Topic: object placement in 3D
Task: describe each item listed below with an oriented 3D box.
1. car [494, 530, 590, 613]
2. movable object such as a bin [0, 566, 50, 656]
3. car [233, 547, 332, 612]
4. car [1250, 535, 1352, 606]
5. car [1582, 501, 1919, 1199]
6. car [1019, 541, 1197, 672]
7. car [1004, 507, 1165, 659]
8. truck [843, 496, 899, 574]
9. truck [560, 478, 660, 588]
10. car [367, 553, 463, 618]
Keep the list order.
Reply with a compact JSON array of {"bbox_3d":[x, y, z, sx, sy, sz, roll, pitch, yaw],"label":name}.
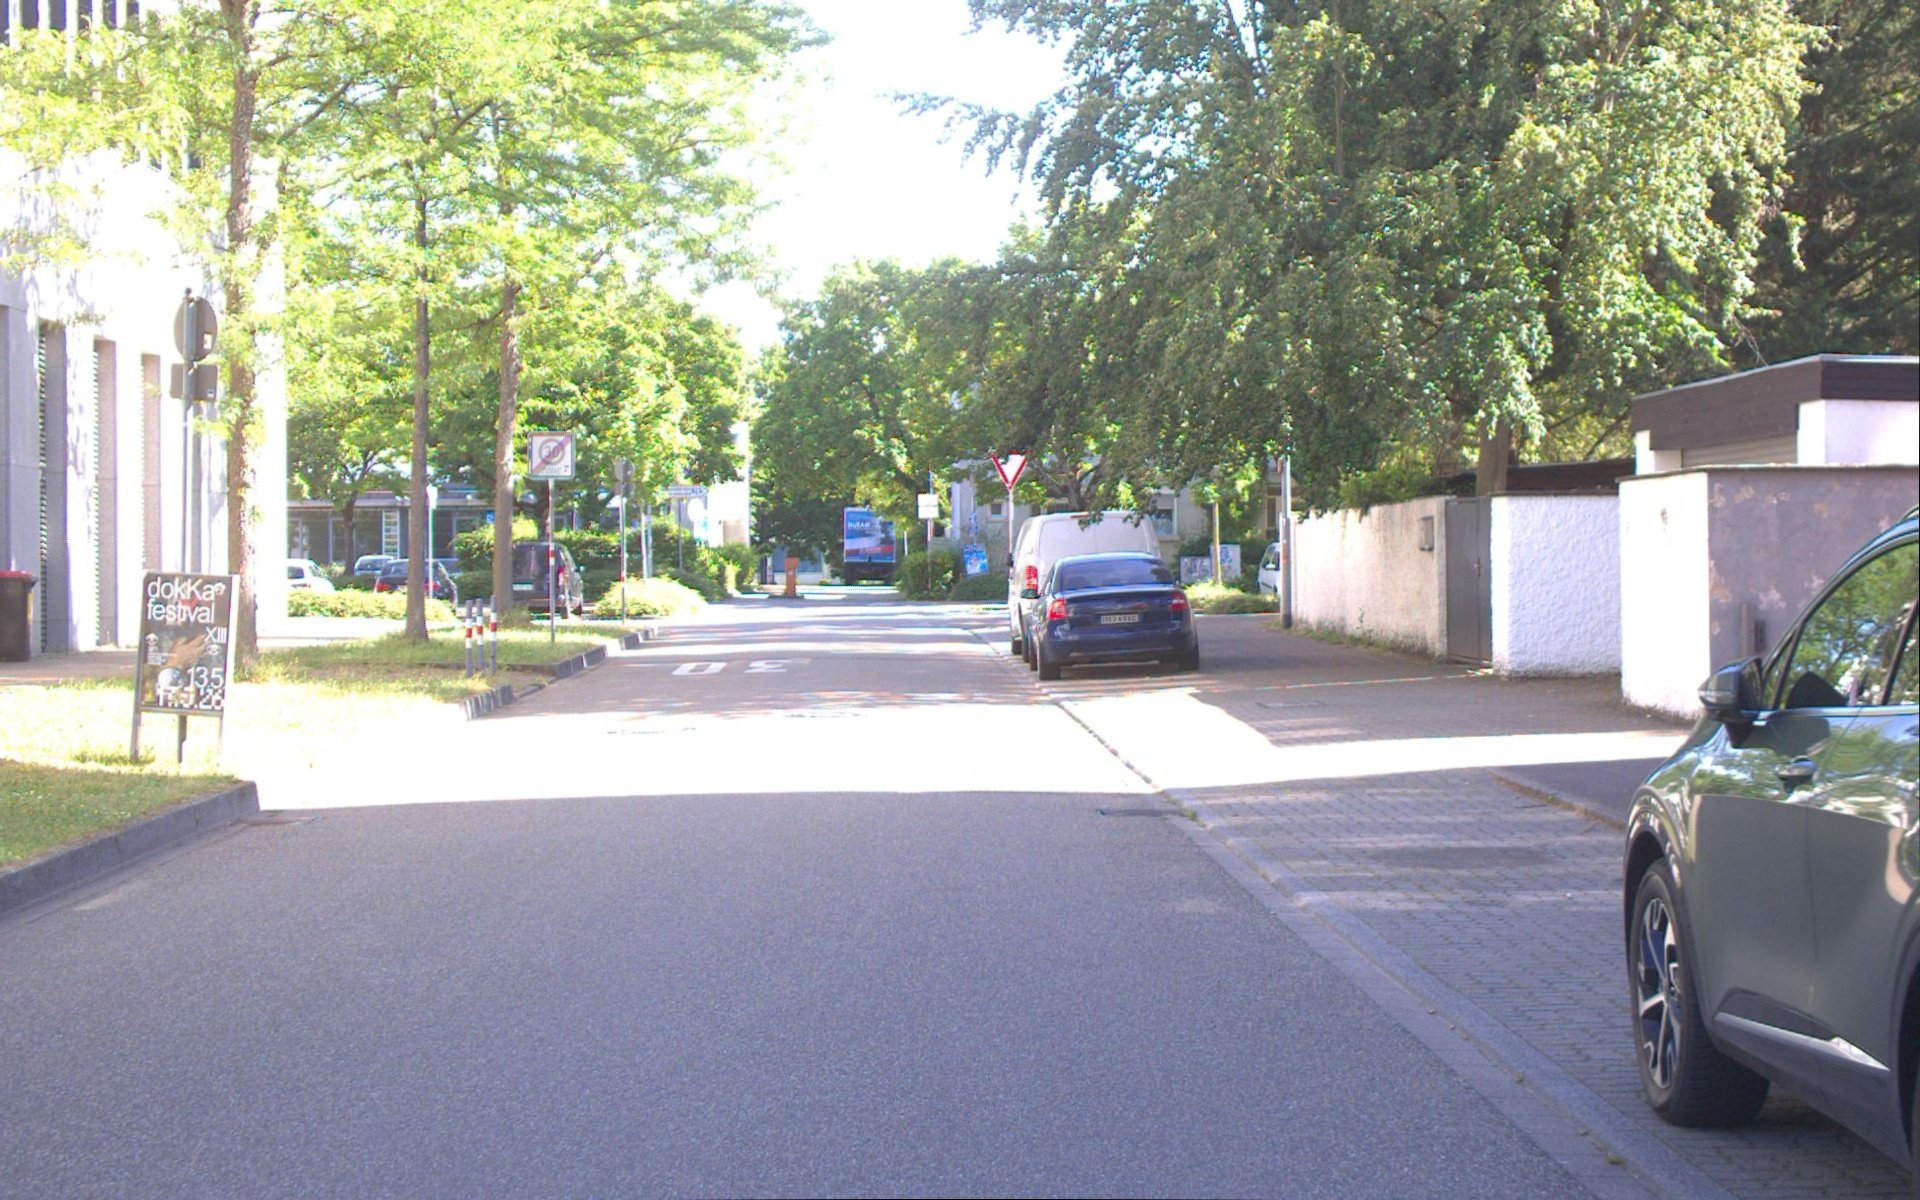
[{"bbox_3d":[-9.961,-0.707,82.183,1.874,1.840,4.169,-1,2,-1],"label":"car"},{"bbox_3d":[-10.986,0.126,40.150,0.593,1.036,0.543,1,1,-3],"label":"movable object such as a bin"},{"bbox_3d":[-16.125,-0.507,81.971,1.802,1.431,3.913,0,2,-3],"label":"car"},{"bbox_3d":[8.210,-0.743,83.035,1.823,1.592,4.169,-1,2,-3],"label":"car"},{"bbox_3d":[2.738,0.592,7.515,1.898,1.624,4.373,-1,1,-1],"label":"car"},{"bbox_3d":[1.672,0.036,40.103,1.825,1.418,4.283,-1,1,-1],"label":"car"},{"bbox_3d":[1.624,-0.261,46.381,1.898,1.907,5.148,-1,1,-1],"label":"car"},{"bbox_3d":[-4.551,-3.320,176.970,2.760,3.856,9.330,1,1,-1],"label":"truck"},{"bbox_3d":[-12.501,-2.378,123.246,2.802,3.793,6.924,1,1,0],"label":"truck"},{"bbox_3d":[-12.949,-0.367,81.917,1.823,1.401,4.169,-1,2,-3],"label":"car"}]
